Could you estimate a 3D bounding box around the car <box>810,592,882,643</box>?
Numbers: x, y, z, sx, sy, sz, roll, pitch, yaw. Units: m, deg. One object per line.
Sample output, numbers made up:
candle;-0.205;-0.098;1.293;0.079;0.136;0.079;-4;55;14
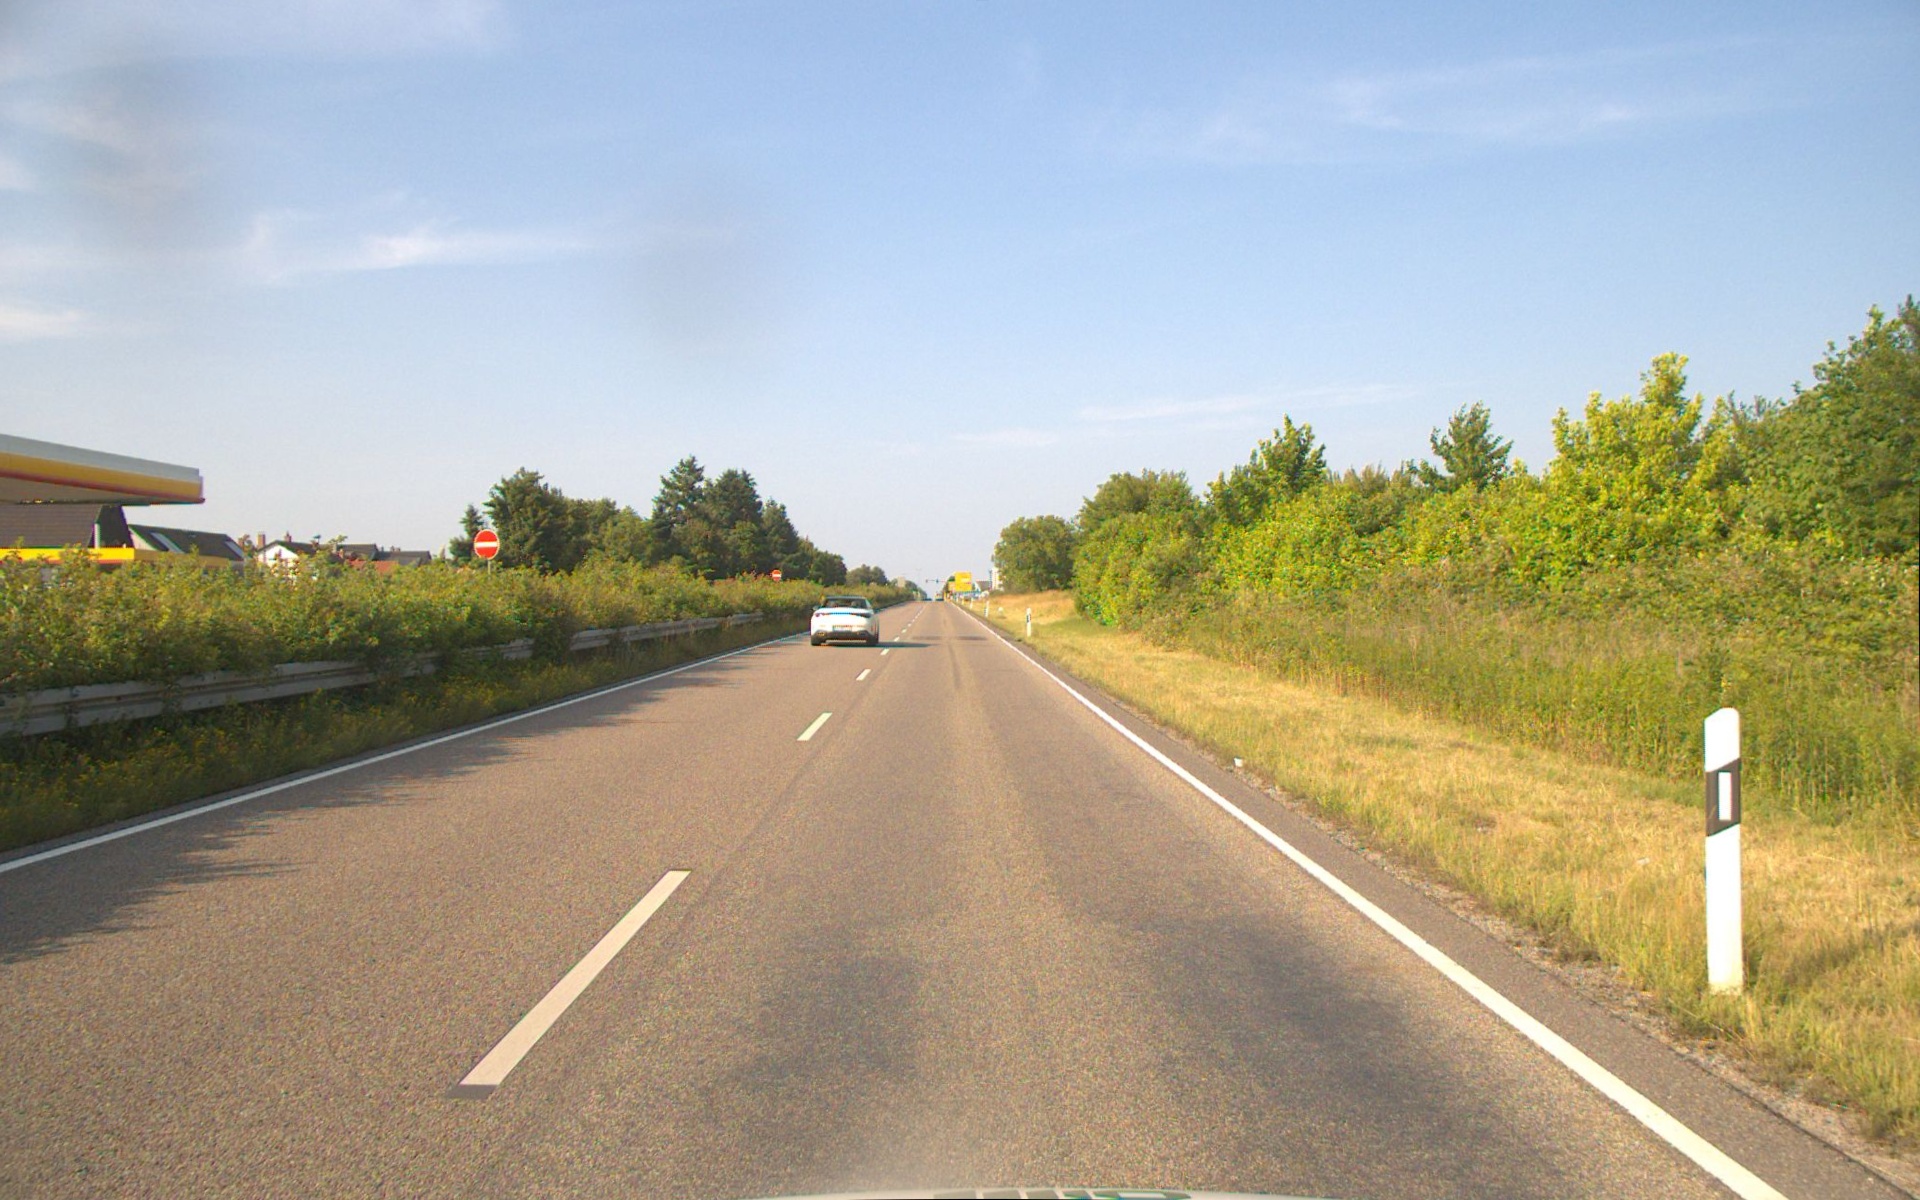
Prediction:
car;-3.247;0.480;47.865;1.735;1.361;4.949;1;0;0
